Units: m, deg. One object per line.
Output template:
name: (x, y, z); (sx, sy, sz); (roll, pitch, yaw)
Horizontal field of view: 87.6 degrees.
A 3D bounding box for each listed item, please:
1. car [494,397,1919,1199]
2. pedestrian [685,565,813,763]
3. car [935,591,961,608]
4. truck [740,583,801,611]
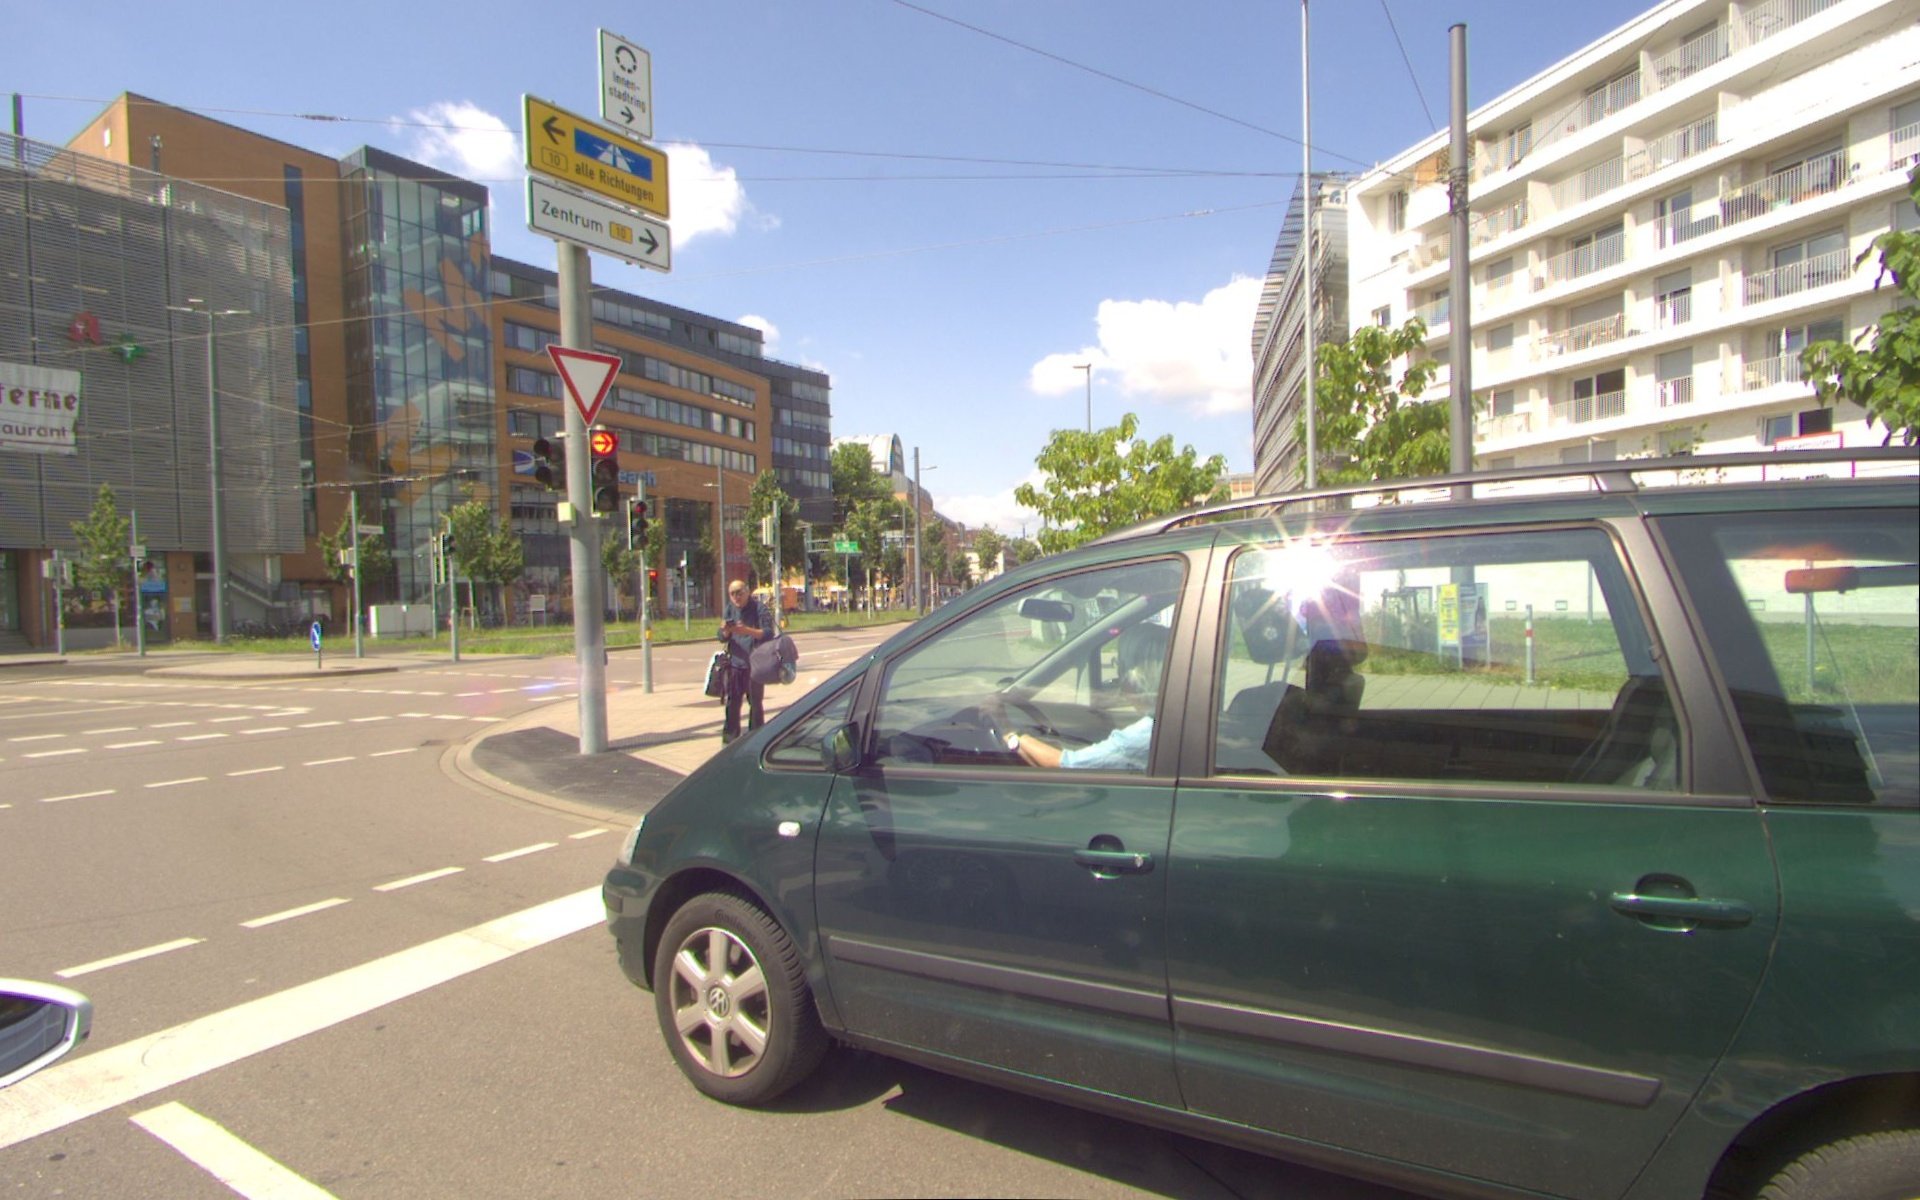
car: (0.953, 0.601, 2.956); (4.959, 1.779, 1.815); (-1, -1, 32)
pedestrian: (-1.922, 0.563, 9.234); (0.901, 1.725, 0.808); (-2, 2, 5)
car: (-1.468, -0.117, 123.841); (1.964, 2.040, 3.992); (-1, 0, 18)
truck: (-14.629, -0.181, 77.695); (1.966, 2.113, 5.510); (0, -1, 22)
